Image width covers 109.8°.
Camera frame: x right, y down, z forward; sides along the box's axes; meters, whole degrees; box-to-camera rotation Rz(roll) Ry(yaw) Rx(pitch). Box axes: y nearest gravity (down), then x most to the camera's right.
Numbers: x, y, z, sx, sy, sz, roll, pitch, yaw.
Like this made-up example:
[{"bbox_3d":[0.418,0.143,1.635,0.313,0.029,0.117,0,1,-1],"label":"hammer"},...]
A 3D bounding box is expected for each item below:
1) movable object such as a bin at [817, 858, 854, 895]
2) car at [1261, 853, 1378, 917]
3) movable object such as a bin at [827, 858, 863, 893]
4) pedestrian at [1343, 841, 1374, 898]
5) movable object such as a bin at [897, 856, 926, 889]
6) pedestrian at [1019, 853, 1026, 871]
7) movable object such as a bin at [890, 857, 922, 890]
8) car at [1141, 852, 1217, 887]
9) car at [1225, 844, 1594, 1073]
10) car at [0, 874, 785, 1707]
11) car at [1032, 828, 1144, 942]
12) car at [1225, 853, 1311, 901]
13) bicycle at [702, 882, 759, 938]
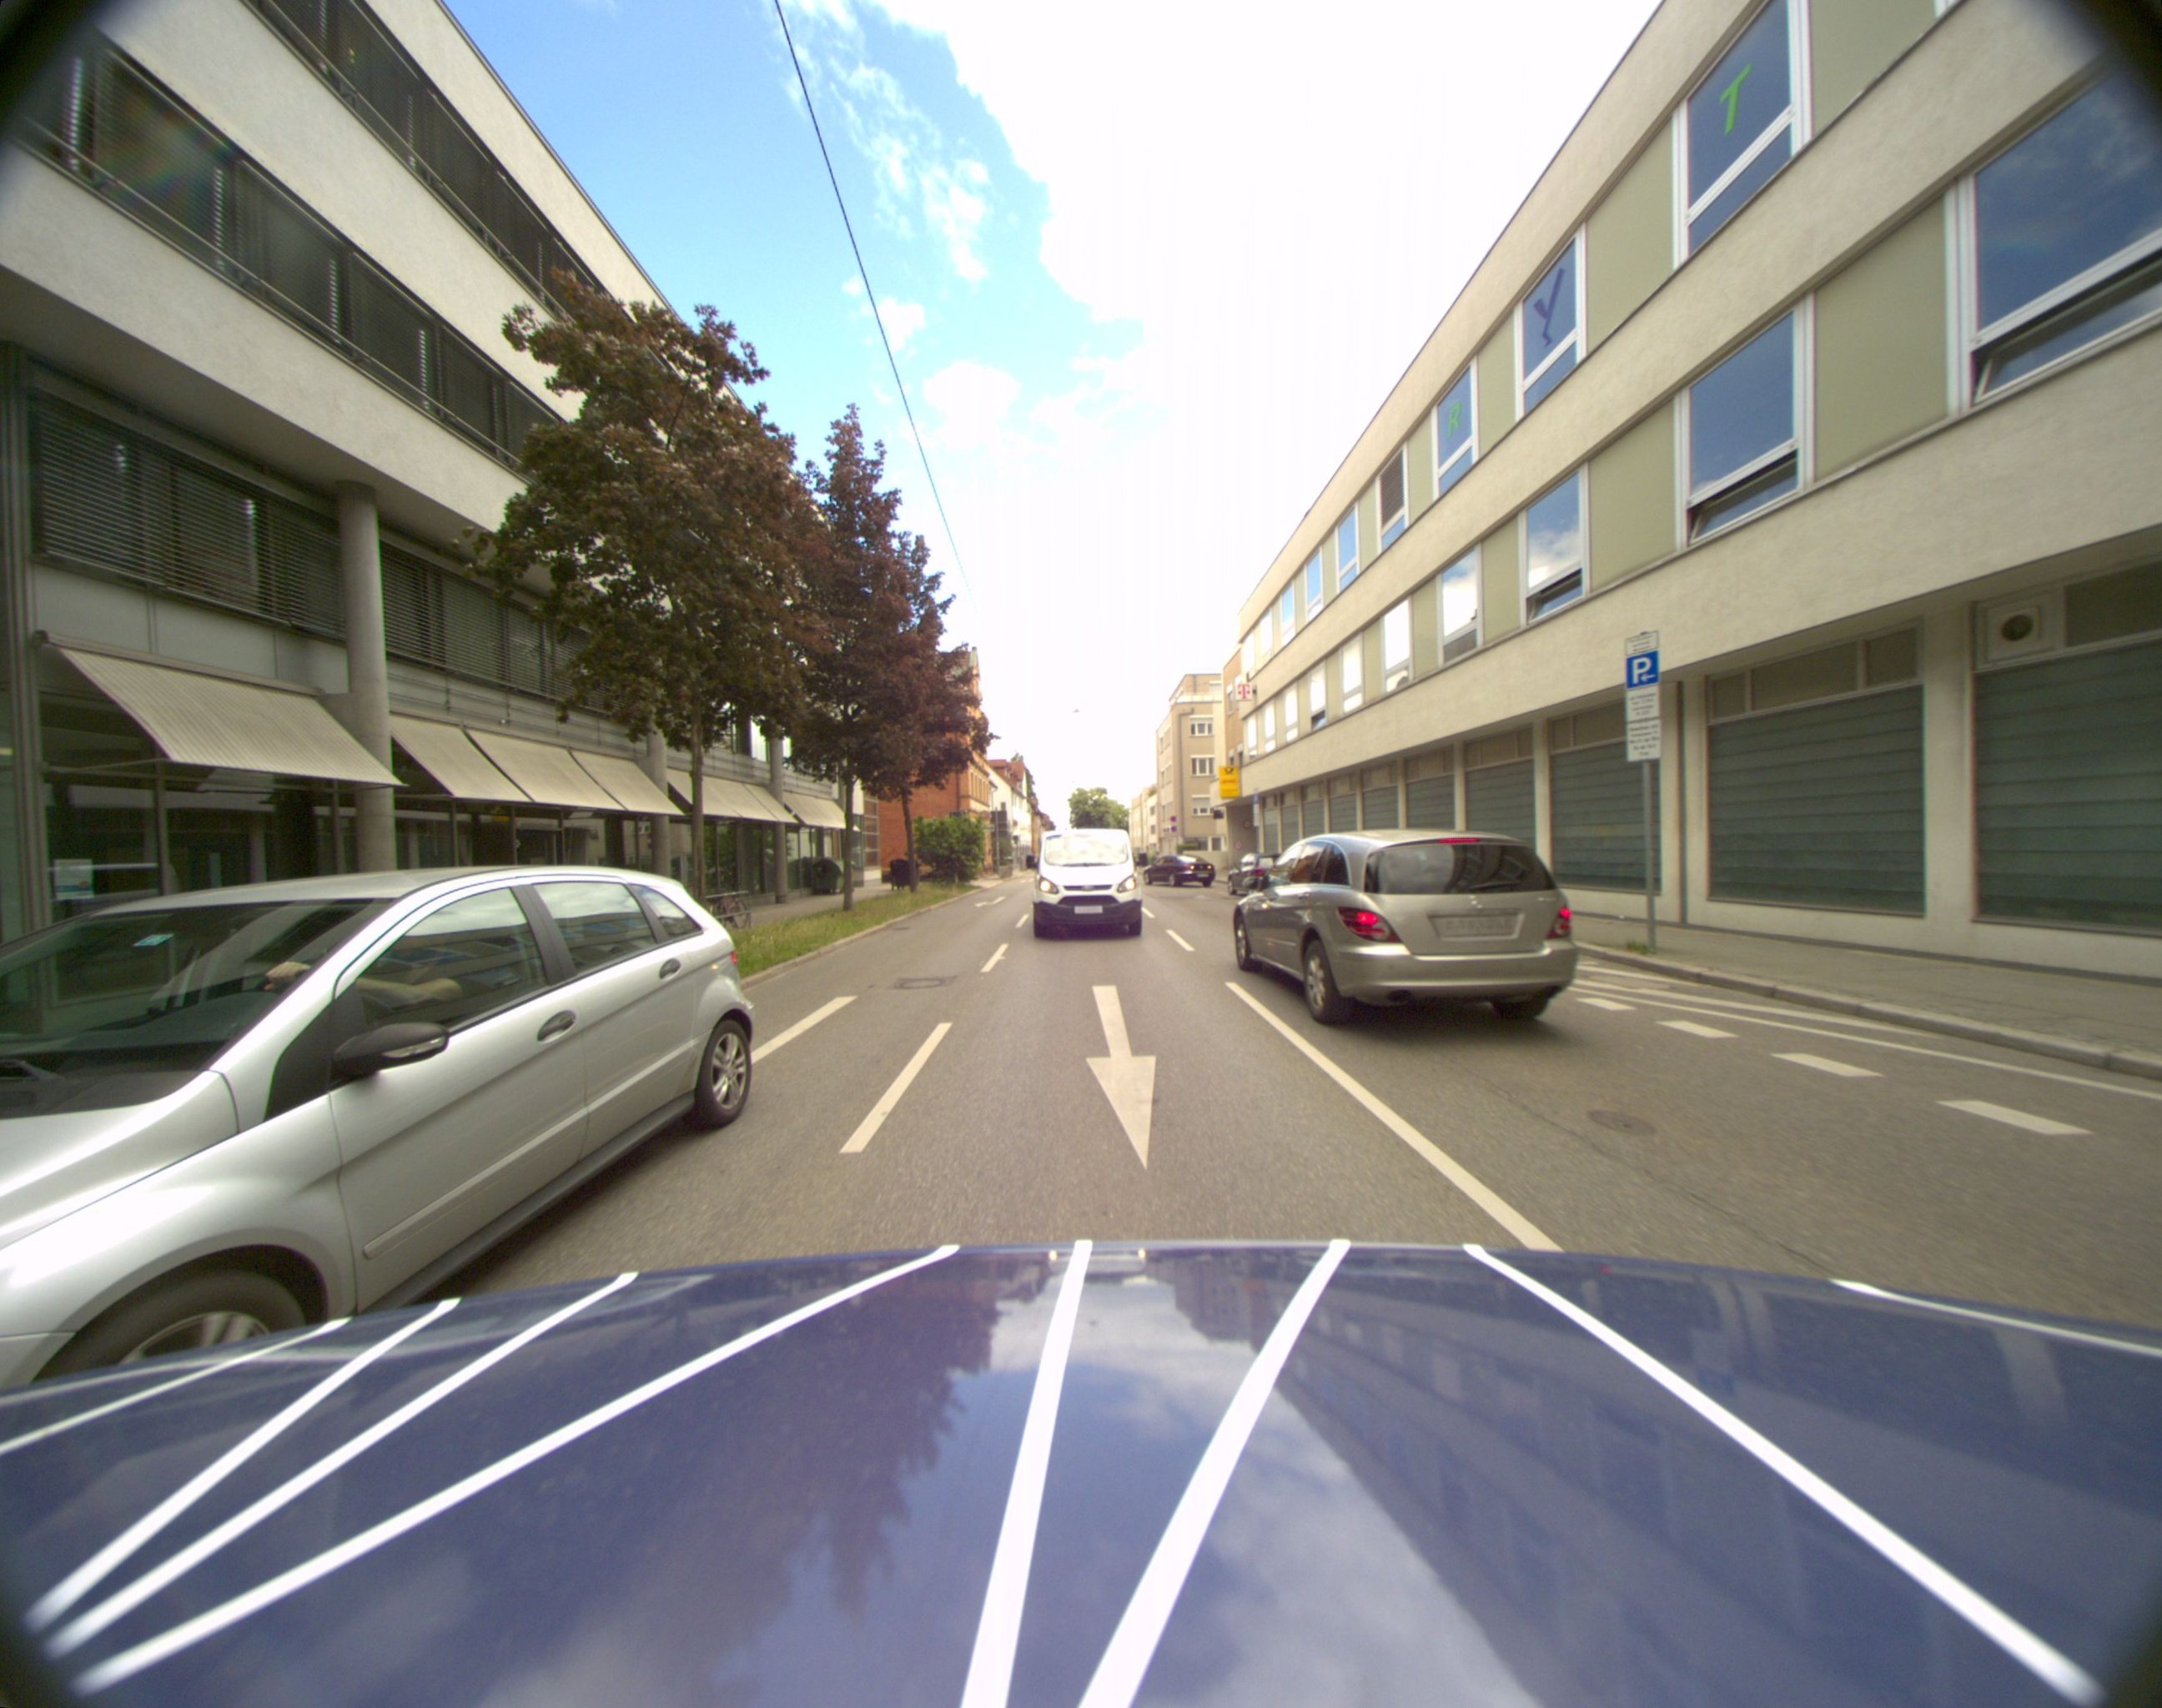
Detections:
[{"bbox_3d":[-10.021,0.912,31.083,1.101,1.457,1.332,0,1,-2],"label":"movable object such as a bin"},{"bbox_3d":[5.873,0.699,19.253,1.819,1.417,4.264,0,0,3],"label":"car"},{"bbox_3d":[-10.070,0.894,32.443,1.125,1.457,1.332,0,1,-2],"label":"movable object such as a bin"},{"bbox_3d":[8.524,0.468,23.365,0.592,1.708,0.648,-2,1,-31],"label":"pedestrian"},{"bbox_3d":[-7.883,0.843,35.414,1.101,1.457,1.332,0,1,-2],"label":"movable object such as a bin"},{"bbox_3d":[-5.813,0.785,75.397,0.690,1.721,0.649,-2,1,-2],"label":"pedestrian"},{"bbox_3d":[-7.818,0.856,34.044,1.130,1.457,1.412,0,1,-2],"label":"movable object such as a bin"},{"bbox_3d":[4.258,0.634,33.808,1.658,1.390,4.447,-2,1,-16],"label":"car"},{"bbox_3d":[2.826,0.741,7.868,1.780,1.622,4.767,-1,0,1],"label":"car"},{"bbox_3d":[-3.111,0.996,2.936,1.998,1.537,4.570,-4,1,1],"label":"car"},{"bbox_3d":[0.024,0.536,16.206,1.965,1.986,5.086,-2,1,-2],"label":"car"},{"bbox_3d":[5.998,0.680,24.798,1.721,1.417,3.869,0,0,-2],"label":"car"},{"bbox_3d":[-7.889,1.239,17.188,0.362,1.080,2.027,-3,1,-2],"label":"bicycle"}]
